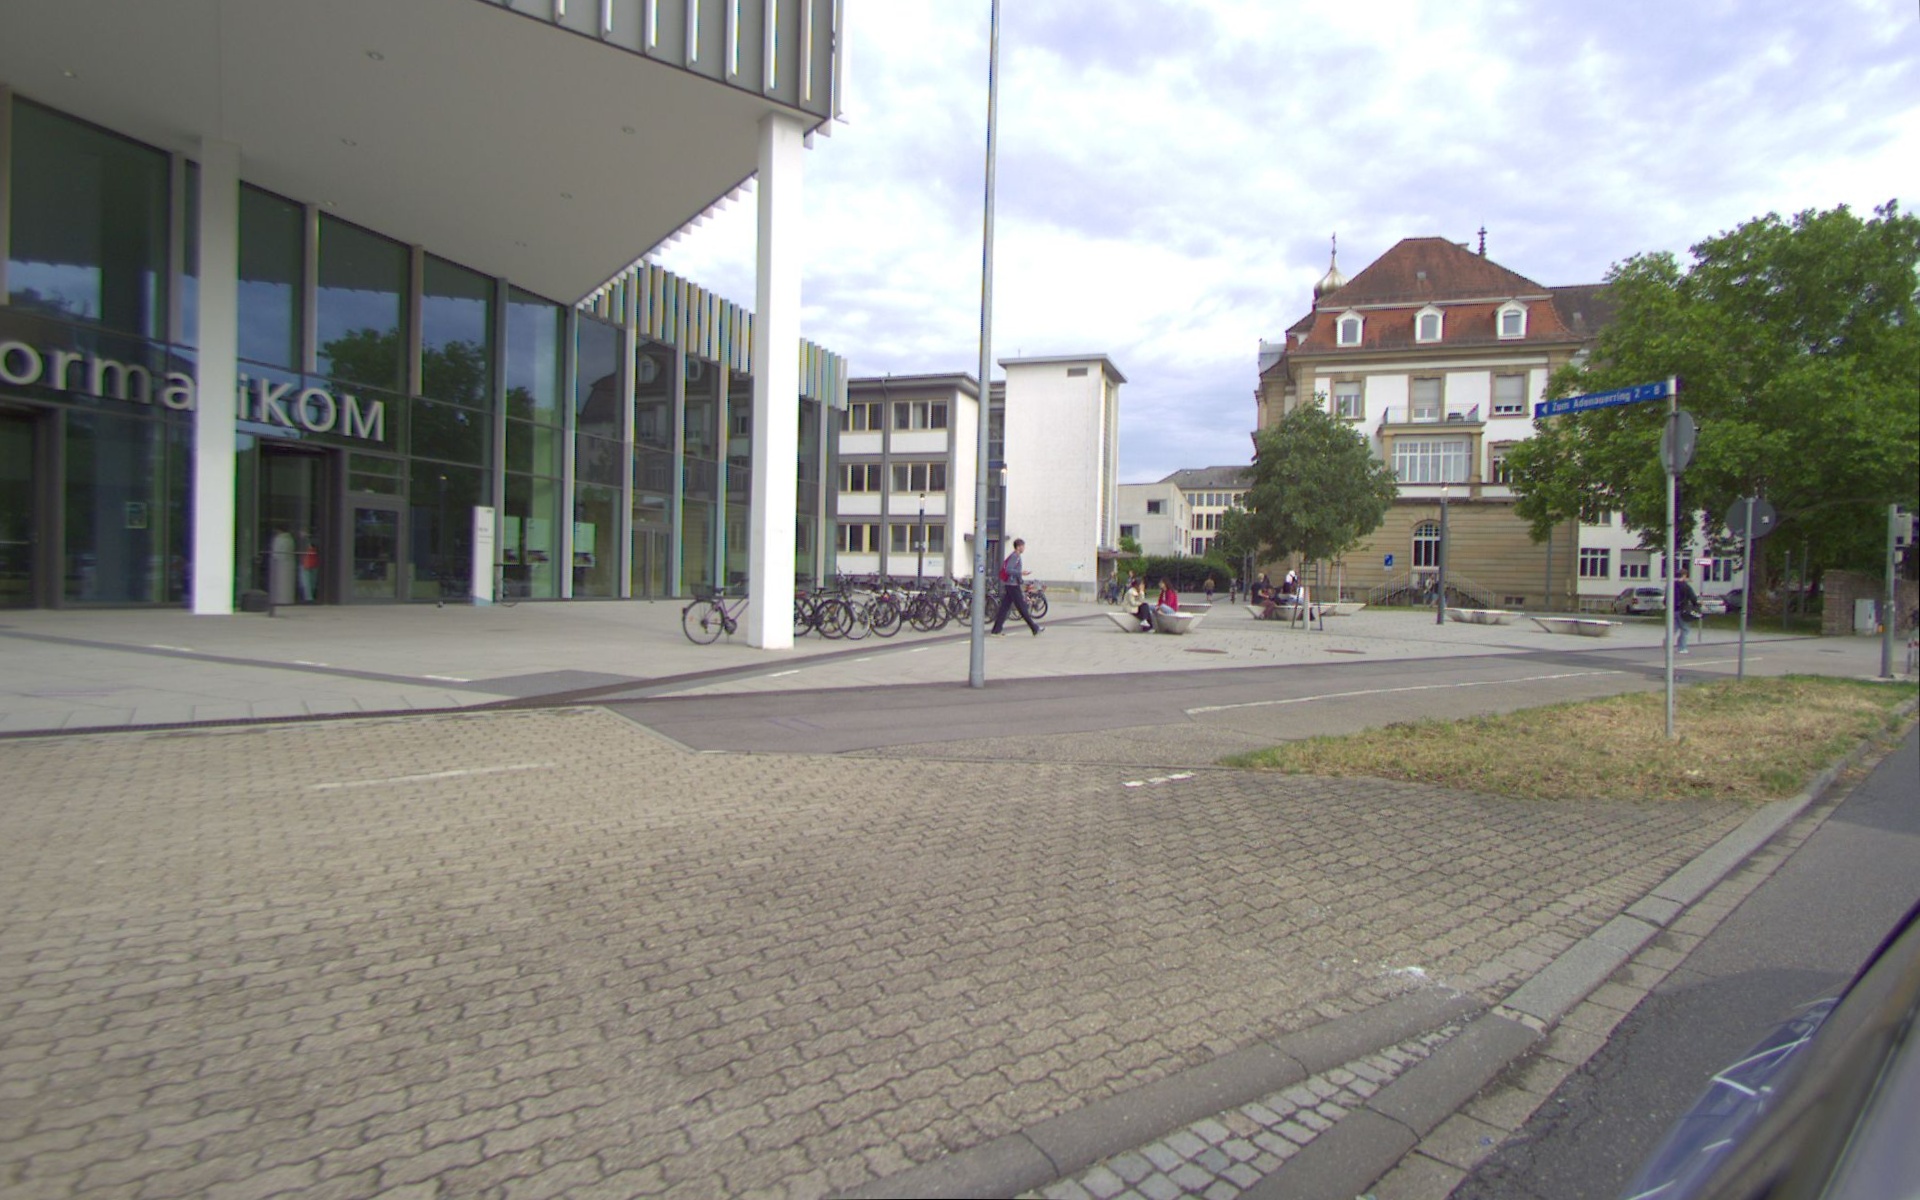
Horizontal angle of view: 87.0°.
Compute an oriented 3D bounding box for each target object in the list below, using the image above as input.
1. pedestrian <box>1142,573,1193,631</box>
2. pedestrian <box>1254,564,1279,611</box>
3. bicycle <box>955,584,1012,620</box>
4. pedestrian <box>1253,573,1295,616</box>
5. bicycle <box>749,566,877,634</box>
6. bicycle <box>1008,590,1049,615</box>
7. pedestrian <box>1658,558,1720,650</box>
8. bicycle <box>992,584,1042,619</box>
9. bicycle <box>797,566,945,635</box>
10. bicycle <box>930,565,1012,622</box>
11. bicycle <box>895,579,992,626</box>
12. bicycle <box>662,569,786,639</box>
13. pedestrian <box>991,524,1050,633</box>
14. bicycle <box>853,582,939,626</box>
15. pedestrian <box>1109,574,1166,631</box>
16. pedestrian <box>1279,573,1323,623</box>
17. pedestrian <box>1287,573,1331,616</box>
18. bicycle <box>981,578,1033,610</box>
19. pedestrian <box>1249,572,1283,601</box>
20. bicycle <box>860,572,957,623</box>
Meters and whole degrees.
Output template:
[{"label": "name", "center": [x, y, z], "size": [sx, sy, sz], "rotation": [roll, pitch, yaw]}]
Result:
[{"label": "pedestrian", "center": [4.523, 0.028, 22.088], "size": [0.877, 1.221, 0.846], "rotation": [1, 1, -2]}, {"label": "pedestrian", "center": [12.806, -0.523, 42.241], "size": [0.733, 1.909, 0.878], "rotation": [2, 1, 35]}, {"label": "bicycle", "center": [0.616, 0.045, 26.701], "size": [1.449, 0.910, 0.393], "rotation": [2, 1, 10]}, {"label": "pedestrian", "center": [9.630, -0.162, 31.074], "size": [0.862, 1.273, 0.912], "rotation": [1, -1, -34]}, {"label": "bicycle", "center": [-2.631, -0.011, 18.174], "size": [2.148, 1.129, 0.734], "rotation": [2, 1, 11]}, {"label": "bicycle", "center": [2.074, 0.073, 30.493], "size": [1.167, 0.699, 0.489], "rotation": [3, 1, 10]}, {"label": "pedestrian", "center": [16.572, 0.068, 23.003], "size": [0.877, 2.038, 0.845], "rotation": [1, 1, -35]}, {"label": "bicycle", "center": [1.594, 0.029, 28.279], "size": [1.335, 0.910, 0.541], "rotation": [2, 1, 10]}, {"label": "bicycle", "center": [-1.693, -0.014, 19.222], "size": [2.678, 1.202, 0.772], "rotation": [2, 1, 12]}, {"label": "bicycle", "center": [0.274, -0.183, 25.776], "size": [1.994, 1.322, 0.638], "rotation": [4, 1, 32]}, {"label": "bicycle", "center": [-0.387, 0.042, 23.932], "size": [2.168, 1.018, 0.775], "rotation": [2, 1, 24]}, {"label": "bicycle", "center": [-3.744, 0.063, 16.120], "size": [1.804, 1.075, 0.641], "rotation": [0, -1, -32]}, {"label": "pedestrian", "center": [1.174, -0.407, 19.965], "size": [1.114, 2.088, 1.184], "rotation": [0, -1, 2]}, {"label": "bicycle", "center": [-1.414, 0.085, 22.590], "size": [1.813, 0.910, 0.671], "rotation": [2, 1, 5]}, {"label": "pedestrian", "center": [3.868, 0.044, 22.101], "size": [0.827, 1.208, 0.896], "rotation": [1, 1, -23]}, {"label": "pedestrian", "center": [9.778, -0.057, 29.011], "size": [0.909, 1.384, 0.865], "rotation": [0, -1, 44]}, {"label": "pedestrian", "center": [10.407, -0.159, 30.207], "size": [0.862, 1.273, 0.912], "rotation": [1, -1, -34]}, {"label": "bicycle", "center": [1.453, -0.189, 30.944], "size": [1.526, 0.910, 0.508], "rotation": [2, 1, 10]}, {"label": "pedestrian", "center": [9.070, -0.399, 30.010], "size": [0.718, 0.833, 0.638], "rotation": [0, 2, -21]}, {"label": "bicycle", "center": [-1.092, -0.070, 21.636], "size": [1.930, 1.014, 0.772], "rotation": [2, 1, 12]}]
